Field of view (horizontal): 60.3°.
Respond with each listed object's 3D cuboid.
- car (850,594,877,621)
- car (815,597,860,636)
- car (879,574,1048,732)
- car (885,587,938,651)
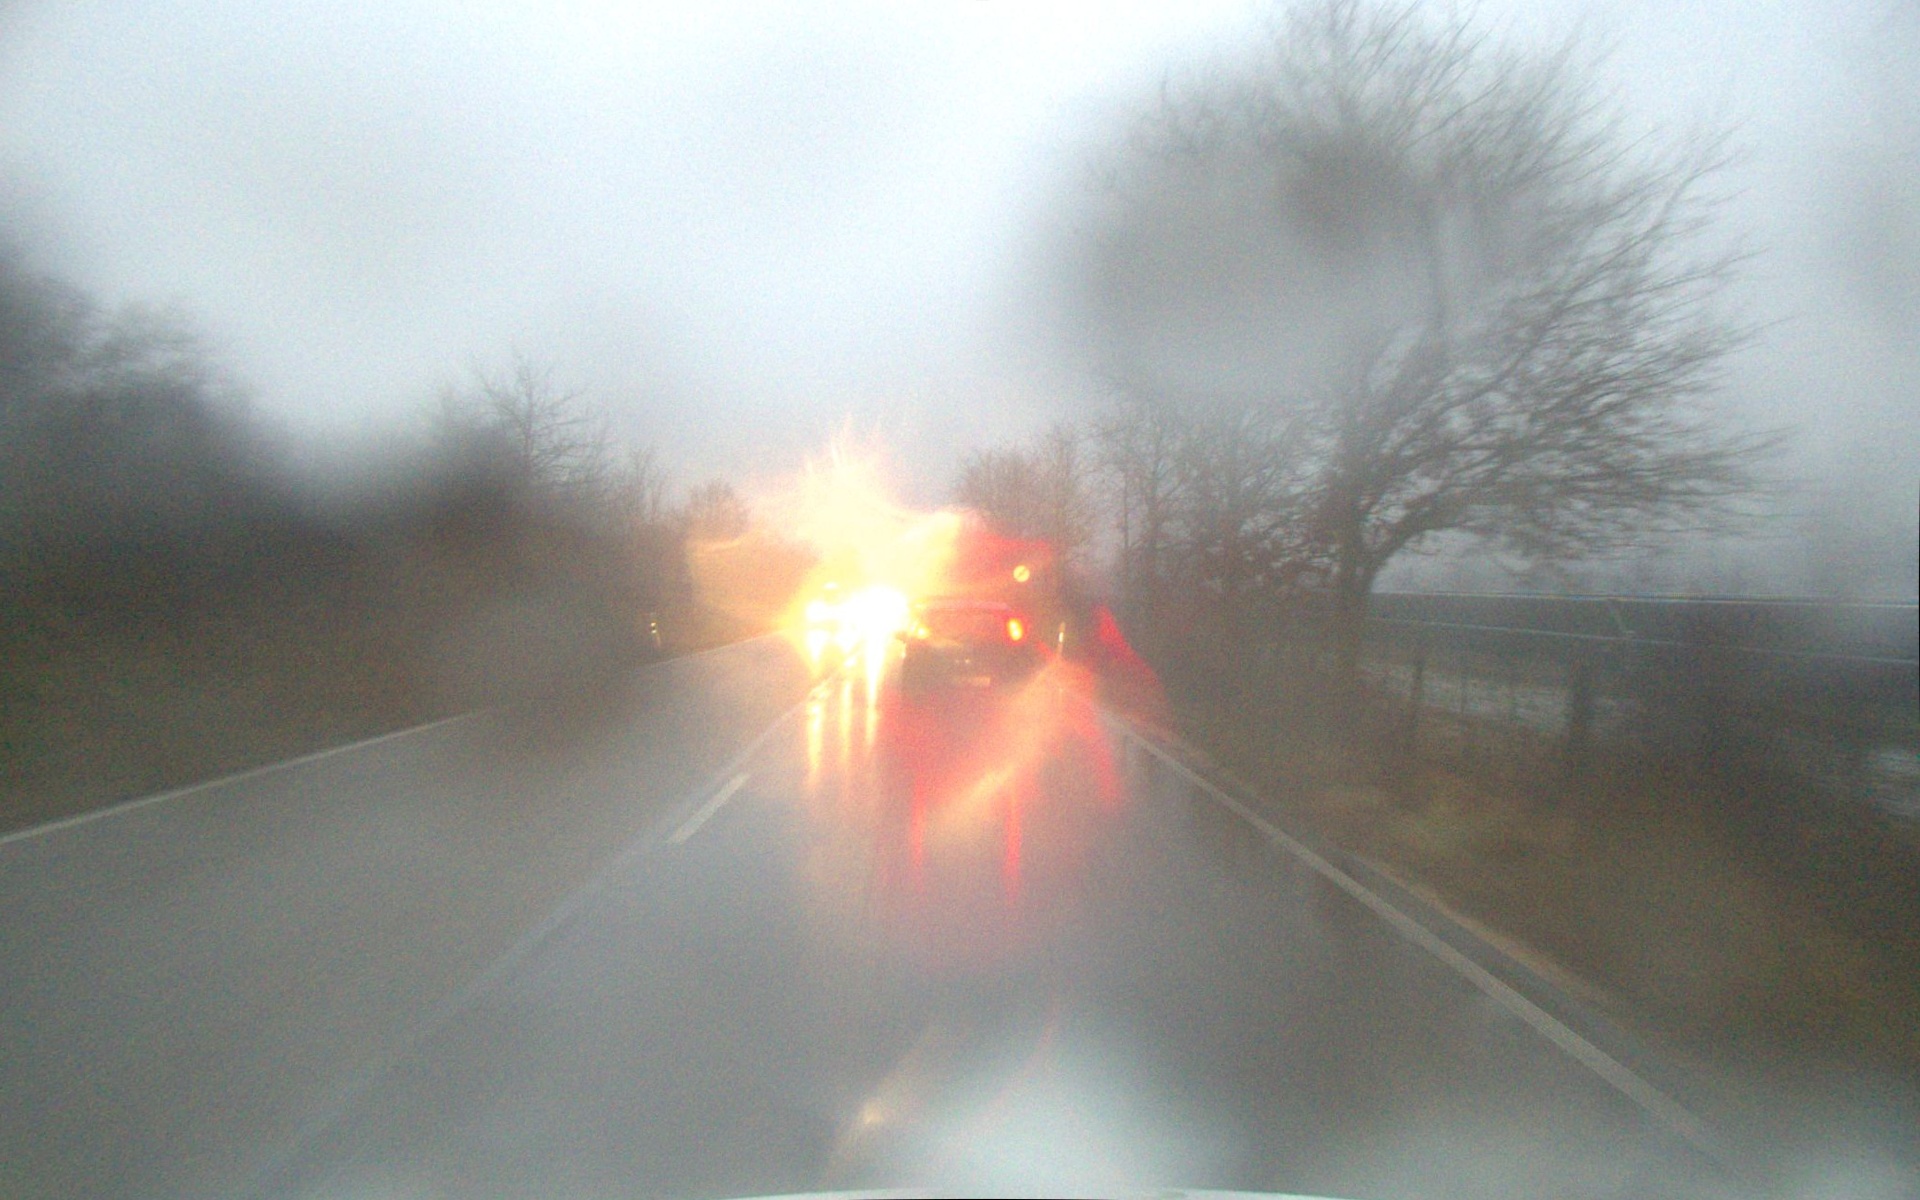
[{"bbox_3d":[-6.254,0.475,106.844,1.718,1.676,4.045,1,0,-4],"label":"car"},{"bbox_3d":[-5.088,0.668,69.027,1.657,1.557,4.084,2,0,-1],"label":"car"},{"bbox_3d":[0.033,0.636,21.576,1.953,1.816,4.000,2,0,0],"label":"car"},{"bbox_3d":[-1.499,0.588,52.586,1.542,1.907,3.708,2,0,0],"label":"car"}]
